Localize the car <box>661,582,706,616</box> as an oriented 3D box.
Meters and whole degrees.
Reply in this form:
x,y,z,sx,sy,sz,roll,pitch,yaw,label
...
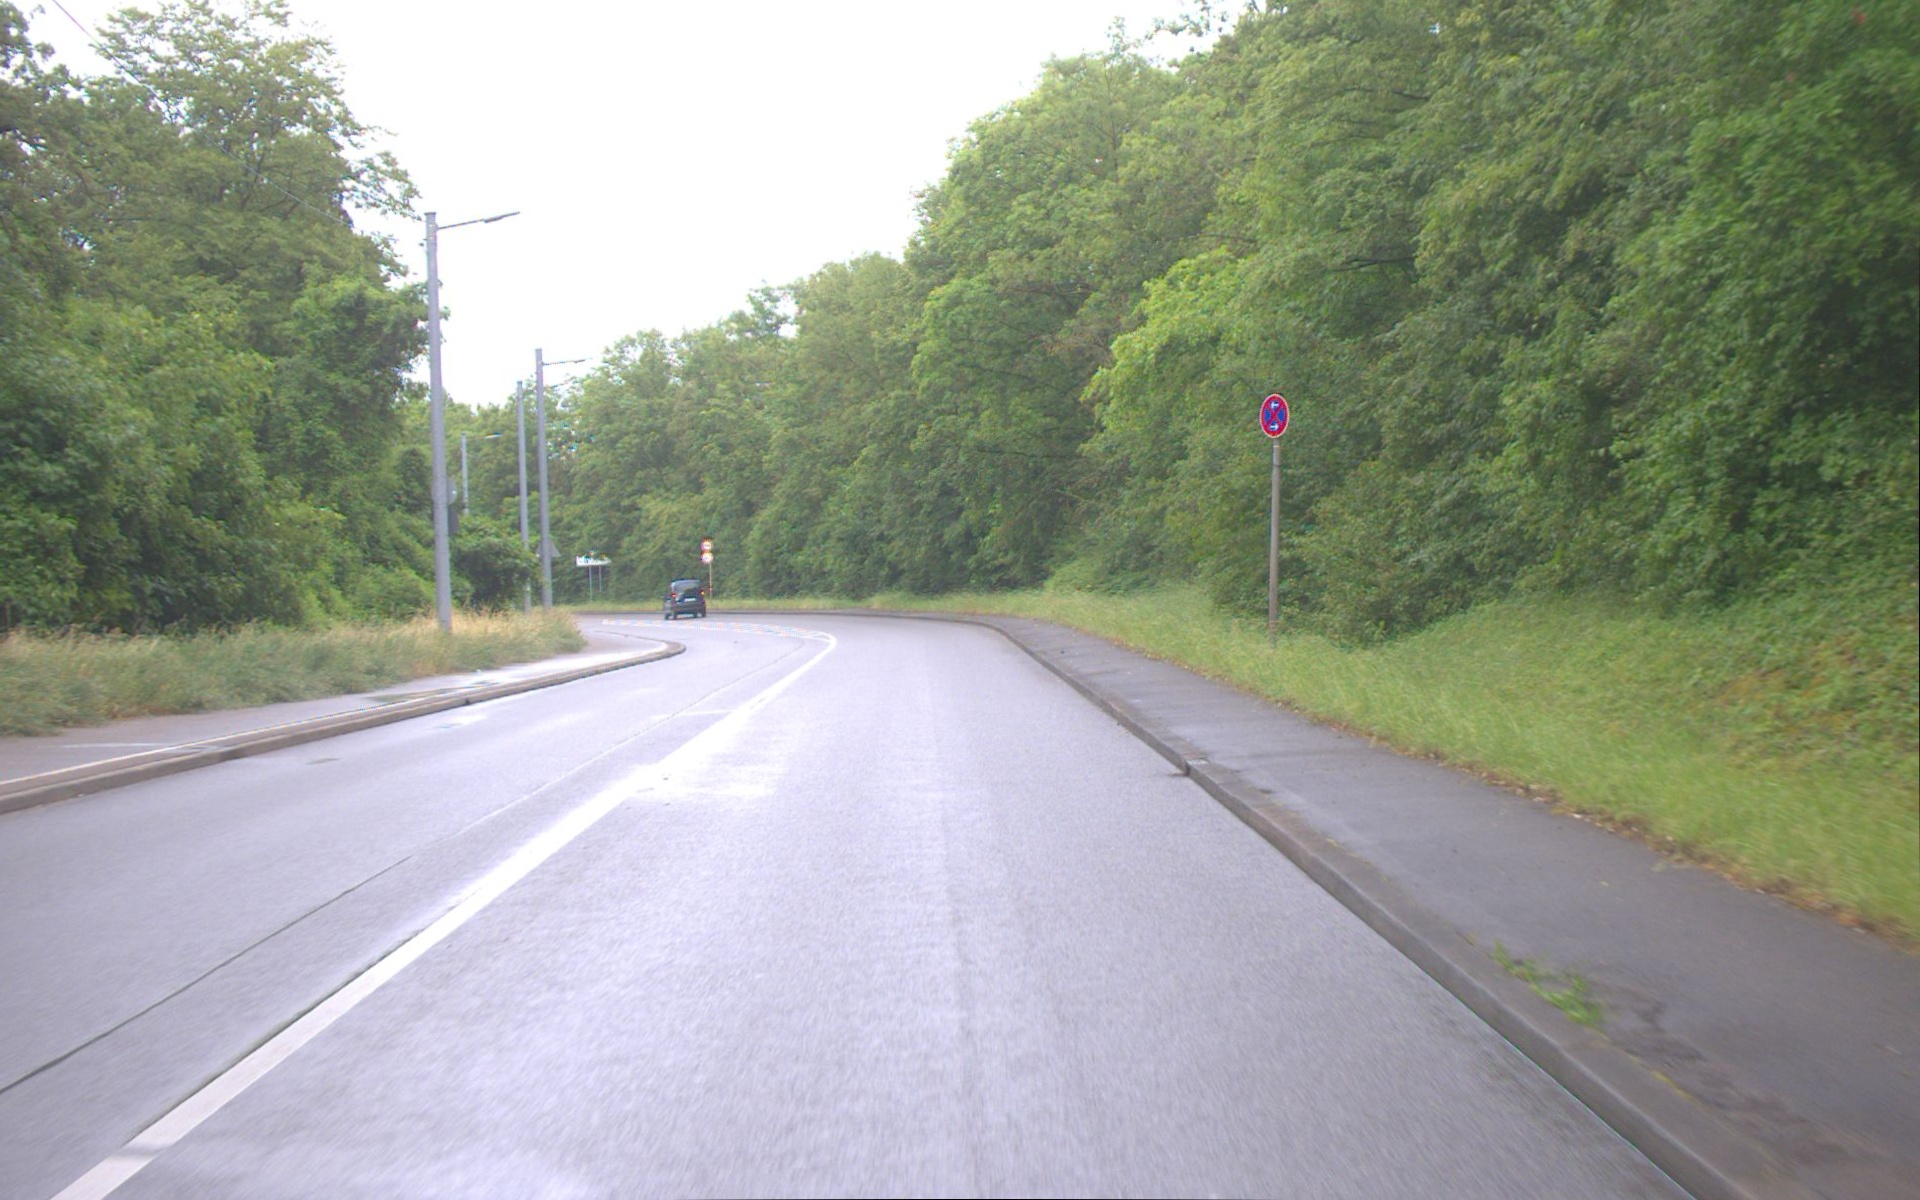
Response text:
x,y,z,sx,sy,sz,roll,pitch,yaw,label
-13.455,-0.036,167.075,1.867,1.590,4.001,2,0,-8,car
